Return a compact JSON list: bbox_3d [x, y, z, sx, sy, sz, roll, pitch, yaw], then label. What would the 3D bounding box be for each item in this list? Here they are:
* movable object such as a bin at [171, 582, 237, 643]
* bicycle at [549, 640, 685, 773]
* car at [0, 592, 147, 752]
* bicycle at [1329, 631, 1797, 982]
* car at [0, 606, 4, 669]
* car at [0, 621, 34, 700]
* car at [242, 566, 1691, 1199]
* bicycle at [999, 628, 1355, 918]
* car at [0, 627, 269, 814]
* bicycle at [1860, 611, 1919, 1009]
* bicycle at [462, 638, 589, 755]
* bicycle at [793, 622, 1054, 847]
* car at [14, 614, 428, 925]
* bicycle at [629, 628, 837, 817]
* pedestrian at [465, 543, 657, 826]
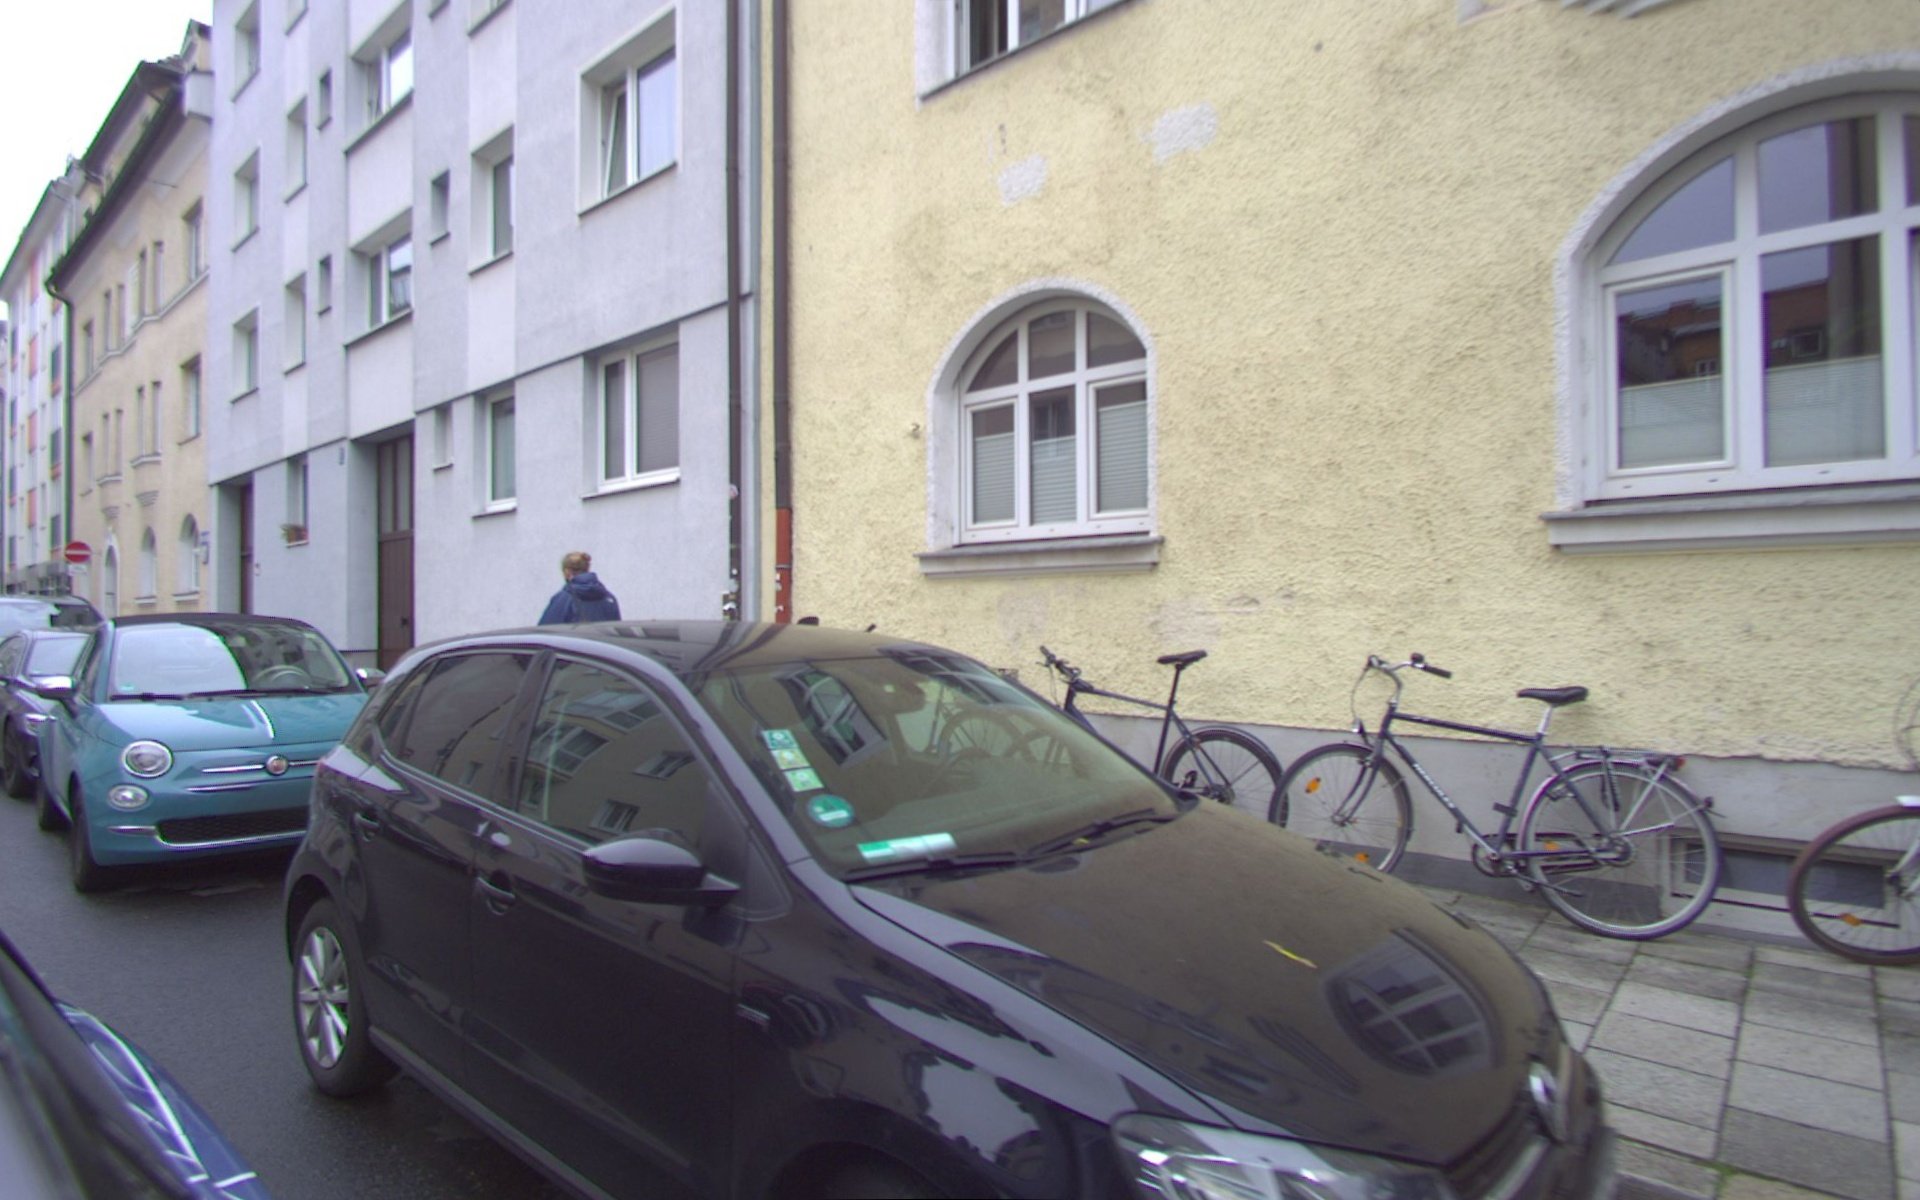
[{"bbox_3d":[-13.868,0.227,18.570,0.622,1.059,0.799,-1,3,41],"label":"movable object such as a bin"},{"bbox_3d":[-3.024,0.890,8.855,1.570,1.038,0.391,-1,0,41],"label":"bicycle"},{"bbox_3d":[-12.274,0.831,13.048,4.731,1.783,1.844,-1,-3,40],"label":"car"},{"bbox_3d":[2.446,0.745,4.250,1.632,1.199,0.434,-1,0,41],"label":"bicycle"},{"bbox_3d":[-22.668,0.990,22.500,4.249,1.802,1.705,0,-2,43],"label":"car"},{"bbox_3d":[-18.863,1.116,19.053,3.732,1.422,1.634,-2,-4,41],"label":"car"},{"bbox_3d":[-0.423,0.746,2.712,3.761,1.471,1.547,-1,-2,40],"label":"car"},{"bbox_3d":[1.065,0.783,5.249,1.735,1.243,0.587,-1,0,41],"label":"bicycle"},{"bbox_3d":[-8.493,1.003,9.878,4.248,1.397,1.793,0,-3,40],"label":"car"},{"bbox_3d":[3.773,0.655,2.915,1.735,1.243,0.587,-1,0,41],"label":"bicycle"},{"bbox_3d":[-4.324,0.914,10.027,1.570,1.038,0.539,-1,0,41],"label":"bicycle"},{"bbox_3d":[-0.278,0.773,6.473,1.735,1.243,0.587,-1,0,41],"label":"bicycle"},{"bbox_3d":[-4.899,0.844,6.547,3.404,1.471,1.546,-1,-2,43],"label":"car"},{"bbox_3d":[-1.753,0.852,7.666,1.736,1.243,0.630,-1,0,41],"label":"bicycle"},{"bbox_3d":[-2.779,0.535,7.043,1.067,1.778,0.830,-1,0,41],"label":"pedestrian"}]
